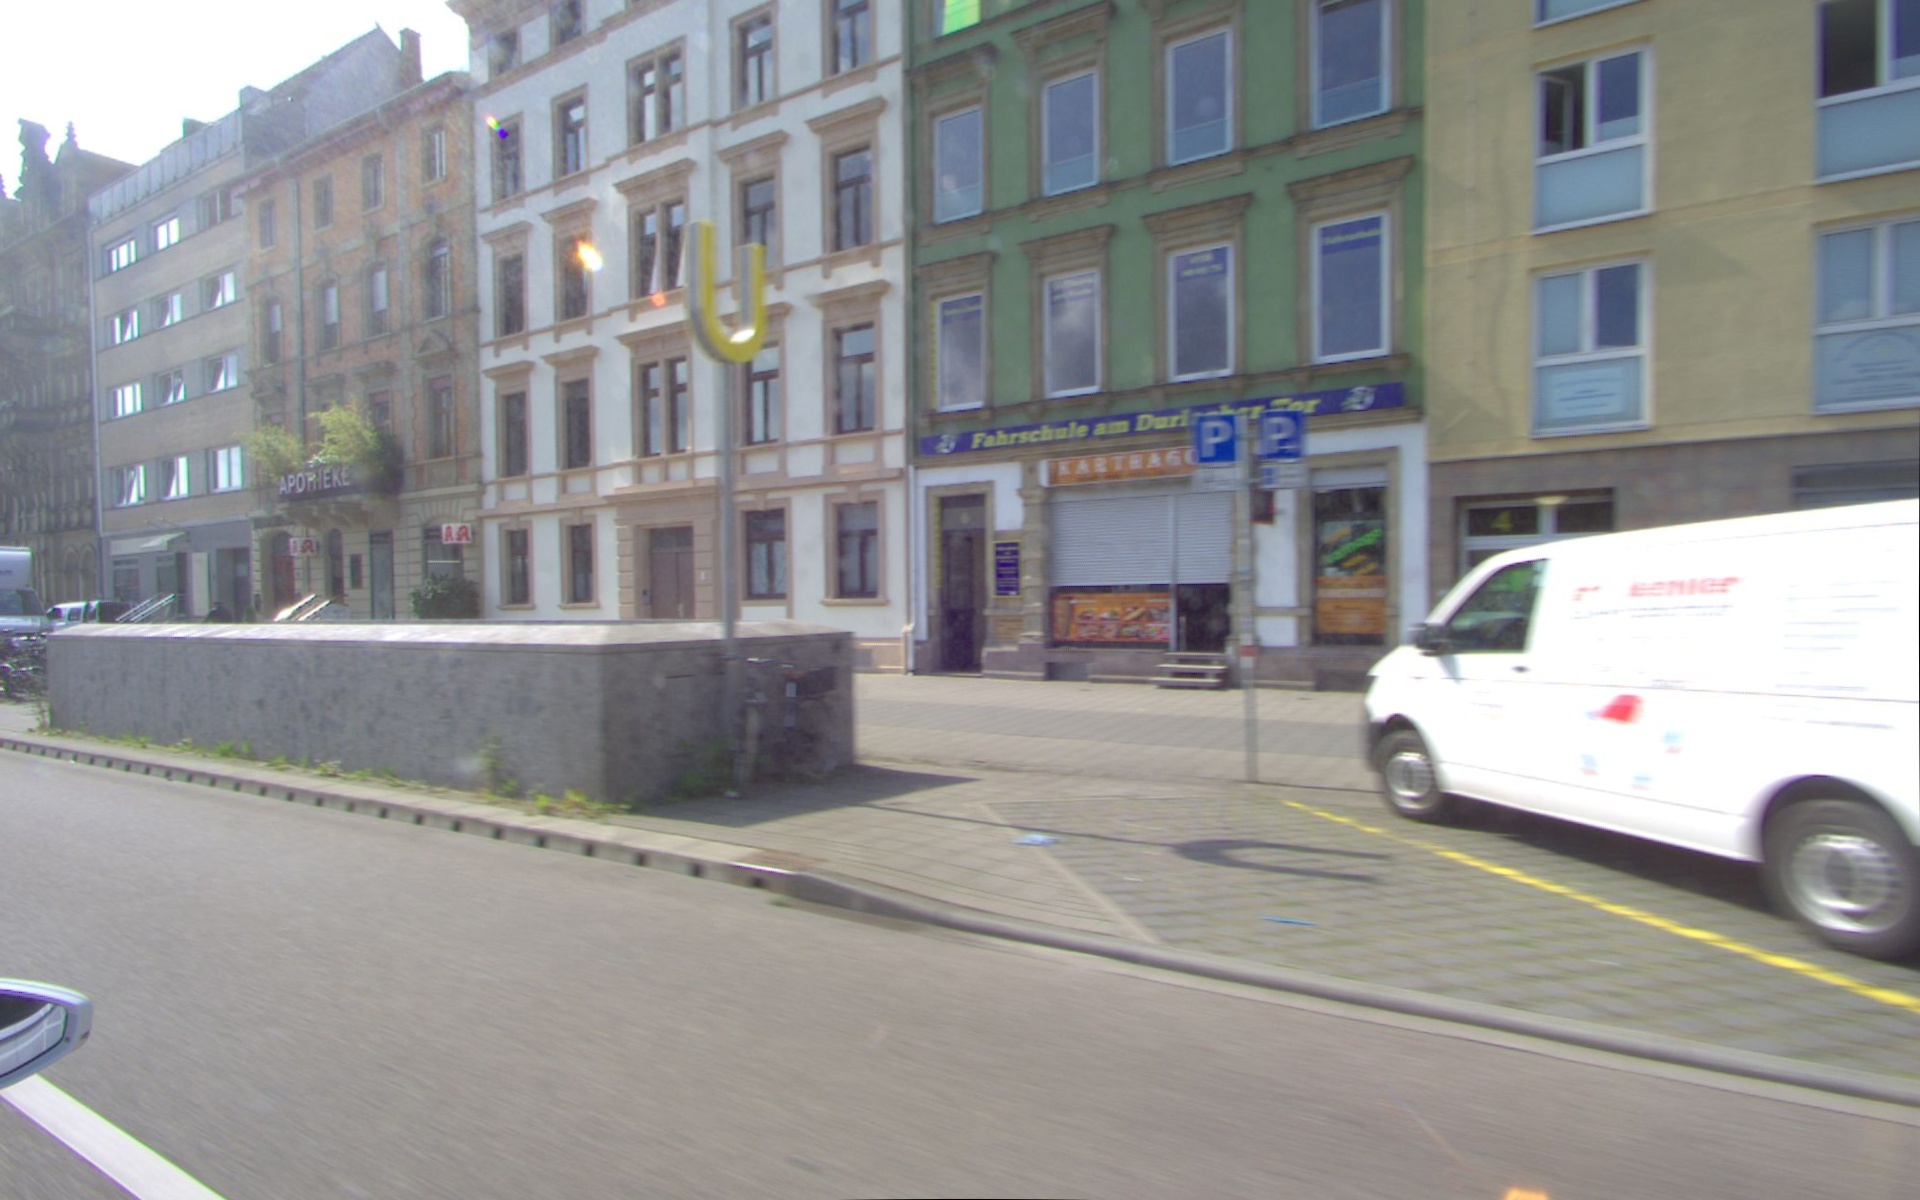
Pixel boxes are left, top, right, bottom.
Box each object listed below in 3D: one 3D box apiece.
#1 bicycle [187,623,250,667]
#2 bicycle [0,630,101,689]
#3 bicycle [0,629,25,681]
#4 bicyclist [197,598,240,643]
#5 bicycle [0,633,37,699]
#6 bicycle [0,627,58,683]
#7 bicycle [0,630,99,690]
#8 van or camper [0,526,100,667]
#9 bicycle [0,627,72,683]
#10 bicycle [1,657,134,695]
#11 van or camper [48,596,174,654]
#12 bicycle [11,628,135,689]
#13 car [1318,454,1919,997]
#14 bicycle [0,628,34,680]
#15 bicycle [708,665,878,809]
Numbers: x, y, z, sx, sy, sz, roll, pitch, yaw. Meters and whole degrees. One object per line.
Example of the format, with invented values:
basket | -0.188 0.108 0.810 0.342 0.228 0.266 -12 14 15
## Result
bicycle | -20.080 1.229 27.117 2.180 1.060 0.702 -6 -4 34
bicycle | -18.314 1.175 20.007 0.366 1.099 1.759 1 0 23
bicycle | -20.854 1.173 21.043 0.366 1.099 1.758 1 0 26
bicyclist | -20.112 0.562 27.153 0.803 1.161 0.706 -5 -4 34
bicycle | -17.085 1.160 17.931 1.738 1.085 0.370 0 0 32
bicycle | -19.522 1.118 20.384 0.366 1.099 1.760 1 0 20
bicycle | -17.586 1.131 19.075 0.367 1.099 1.754 1 0 34
van or camper | -25.882 -0.007 26.562 7.535 3.375 2.705 -1 0 34
bicycle | -19.093 1.102 20.236 0.366 1.099 1.760 1 0 20
bicycle | -16.261 1.384 18.272 1.737 0.594 0.638 -1 0 -8
van or camper | -31.329 0.915 36.924 5.222 1.931 1.988 -1 2 32
bicycle | -16.971 1.104 19.201 0.367 1.099 1.754 1 0 34
car | 4.362 0.550 5.755 2.041 2.111 4.895 1 -2 -13
bicycle | -20.470 1.135 20.826 0.366 1.099 1.758 1 0 26
bicycle | -1.310 1.059 8.239 0.504 1.016 1.774 -1 -3 23
